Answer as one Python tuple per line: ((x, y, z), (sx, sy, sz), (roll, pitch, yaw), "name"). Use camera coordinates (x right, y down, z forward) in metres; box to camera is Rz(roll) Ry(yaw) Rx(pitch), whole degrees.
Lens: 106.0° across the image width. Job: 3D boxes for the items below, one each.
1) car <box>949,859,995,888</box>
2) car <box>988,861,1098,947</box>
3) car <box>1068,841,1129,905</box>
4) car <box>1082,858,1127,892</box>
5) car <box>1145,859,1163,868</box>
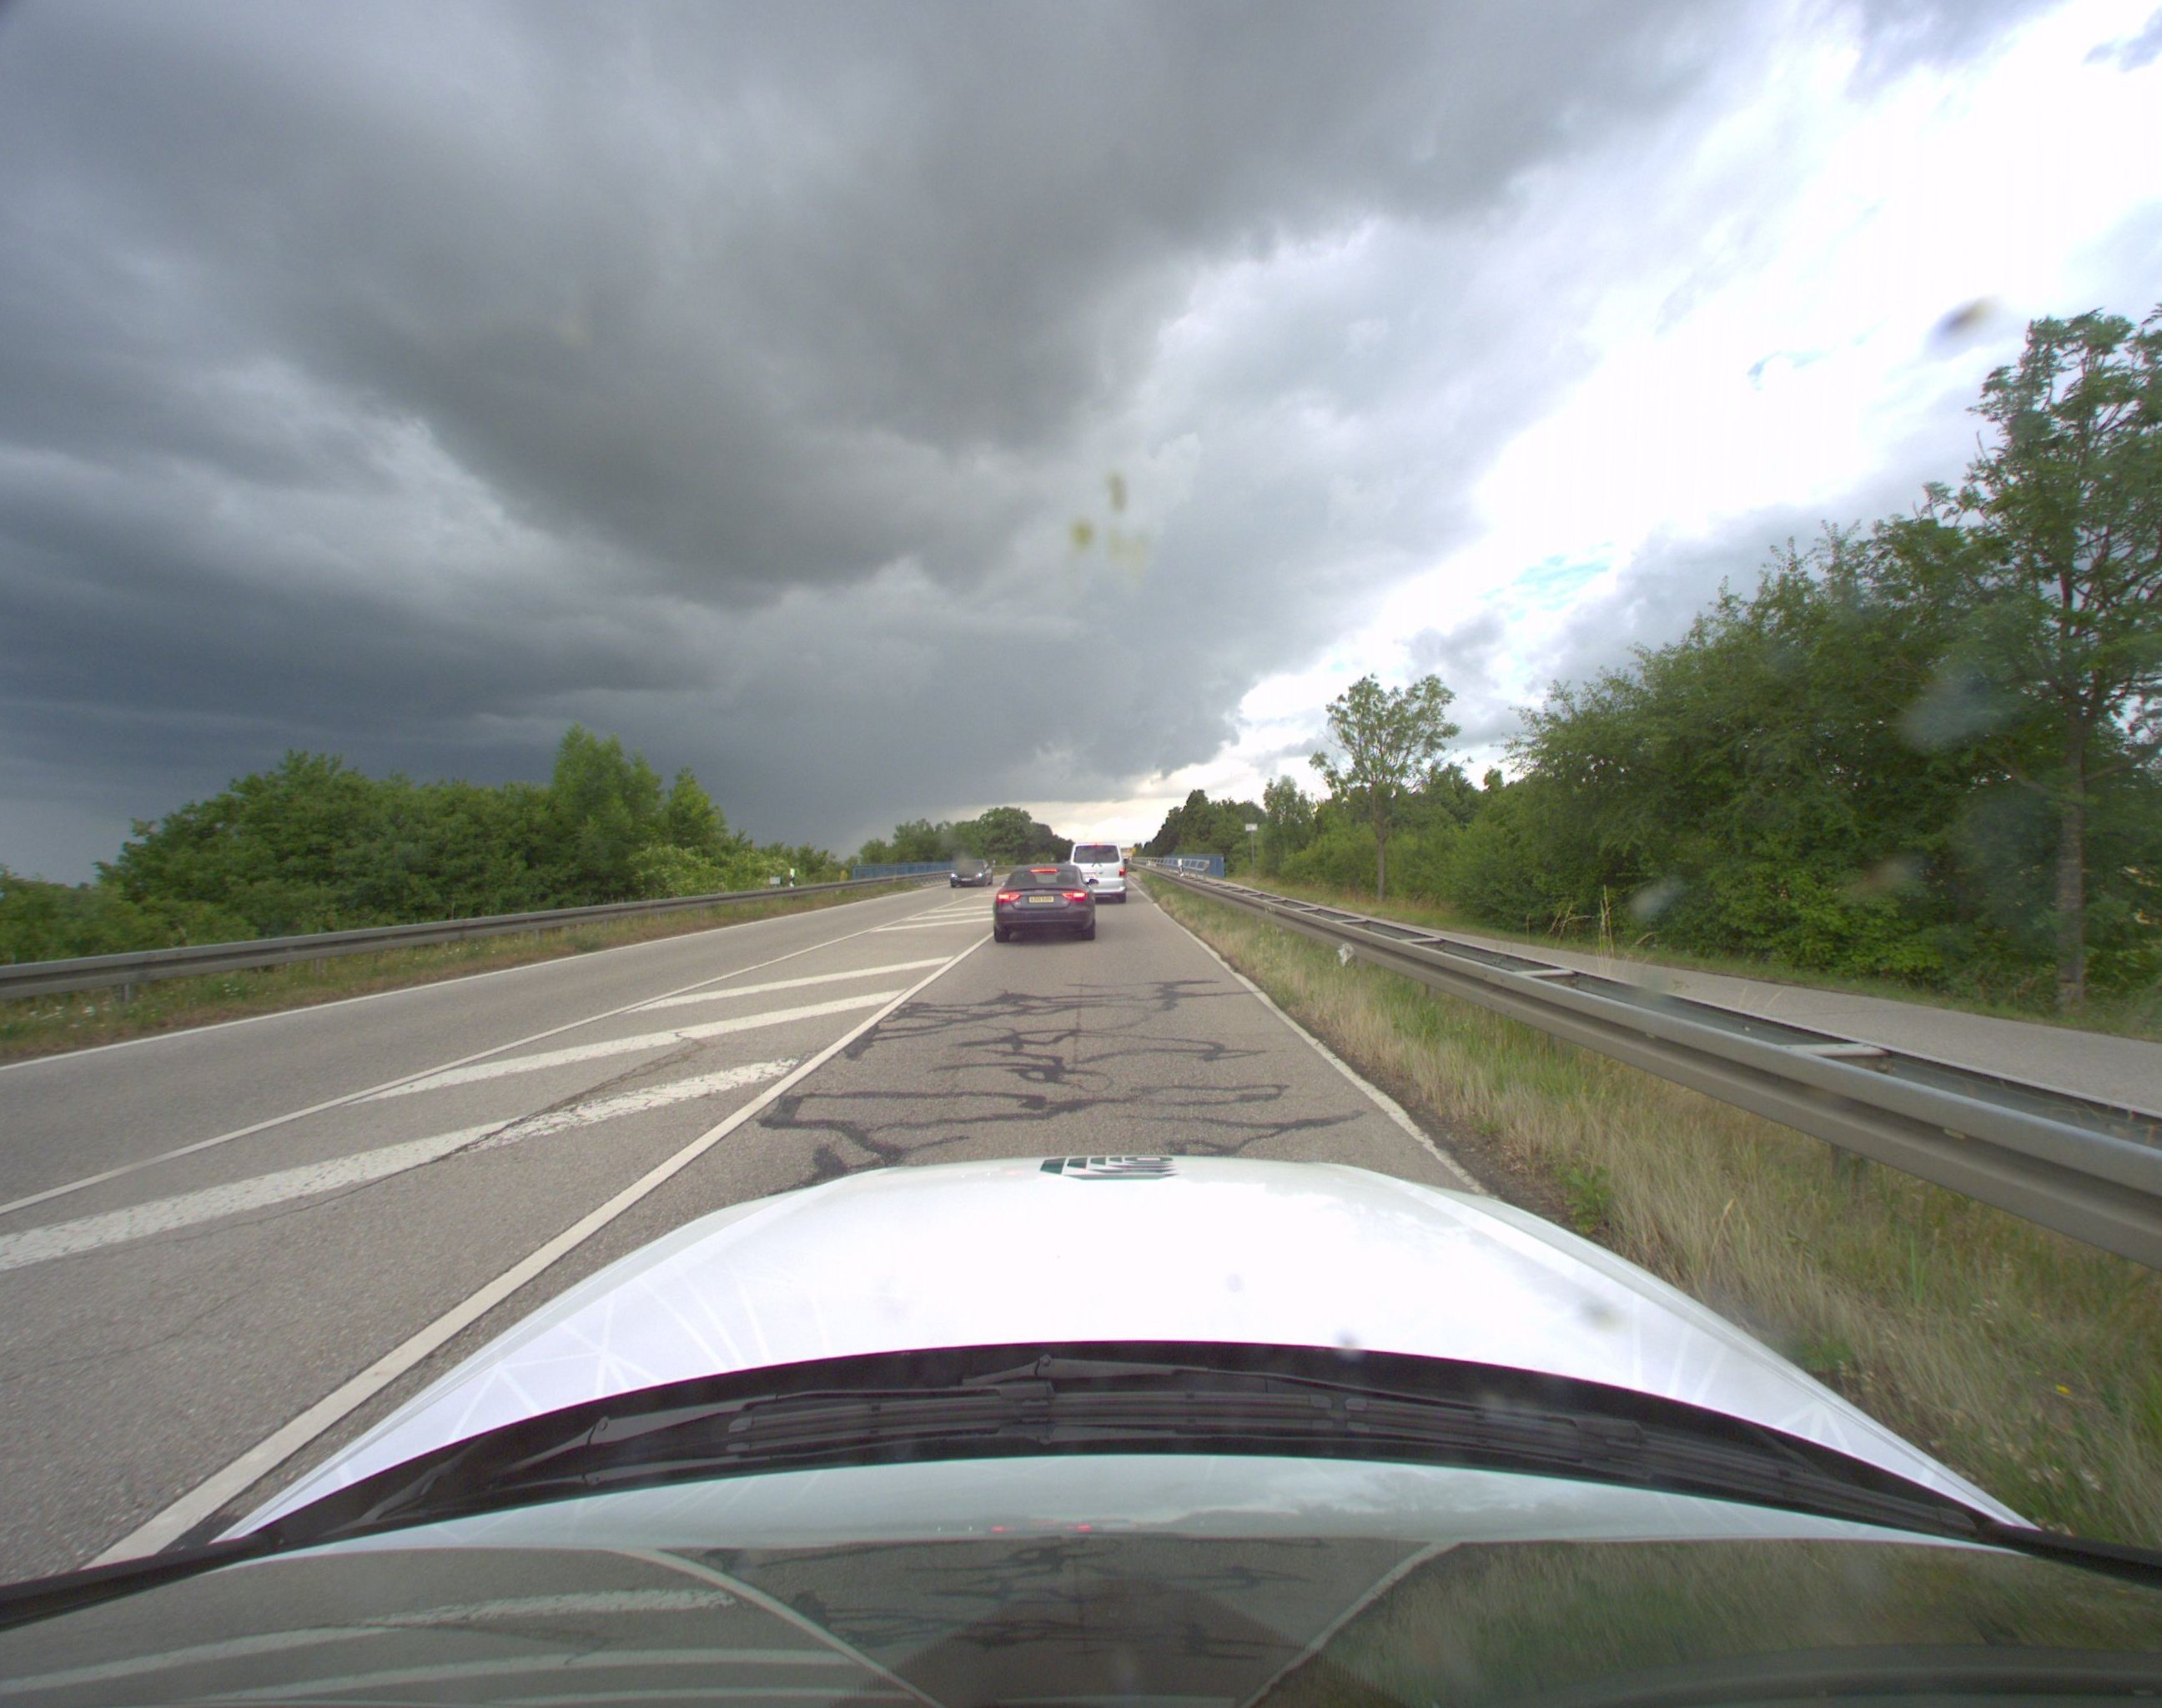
((-5.905, 1.010, 44.580), (1.793, 1.450, 4.445), (-2, 0, 0), "car")
((-0.602, 0.867, 15.824), (1.815, 1.381, 4.073), (-2, -1, 1), "car")
((0.604, 0.603, 27.287), (1.822, 1.935, 4.001), (-2, -1, 1), "car")
((1.078, 0.876, 36.009), (1.814, 1.381, 4.074), (-2, 0, 3), "car")
((17.812, 2.337, 199.636), (3.949, 2.014, 2.012), (-1, -1, 28), "car")
